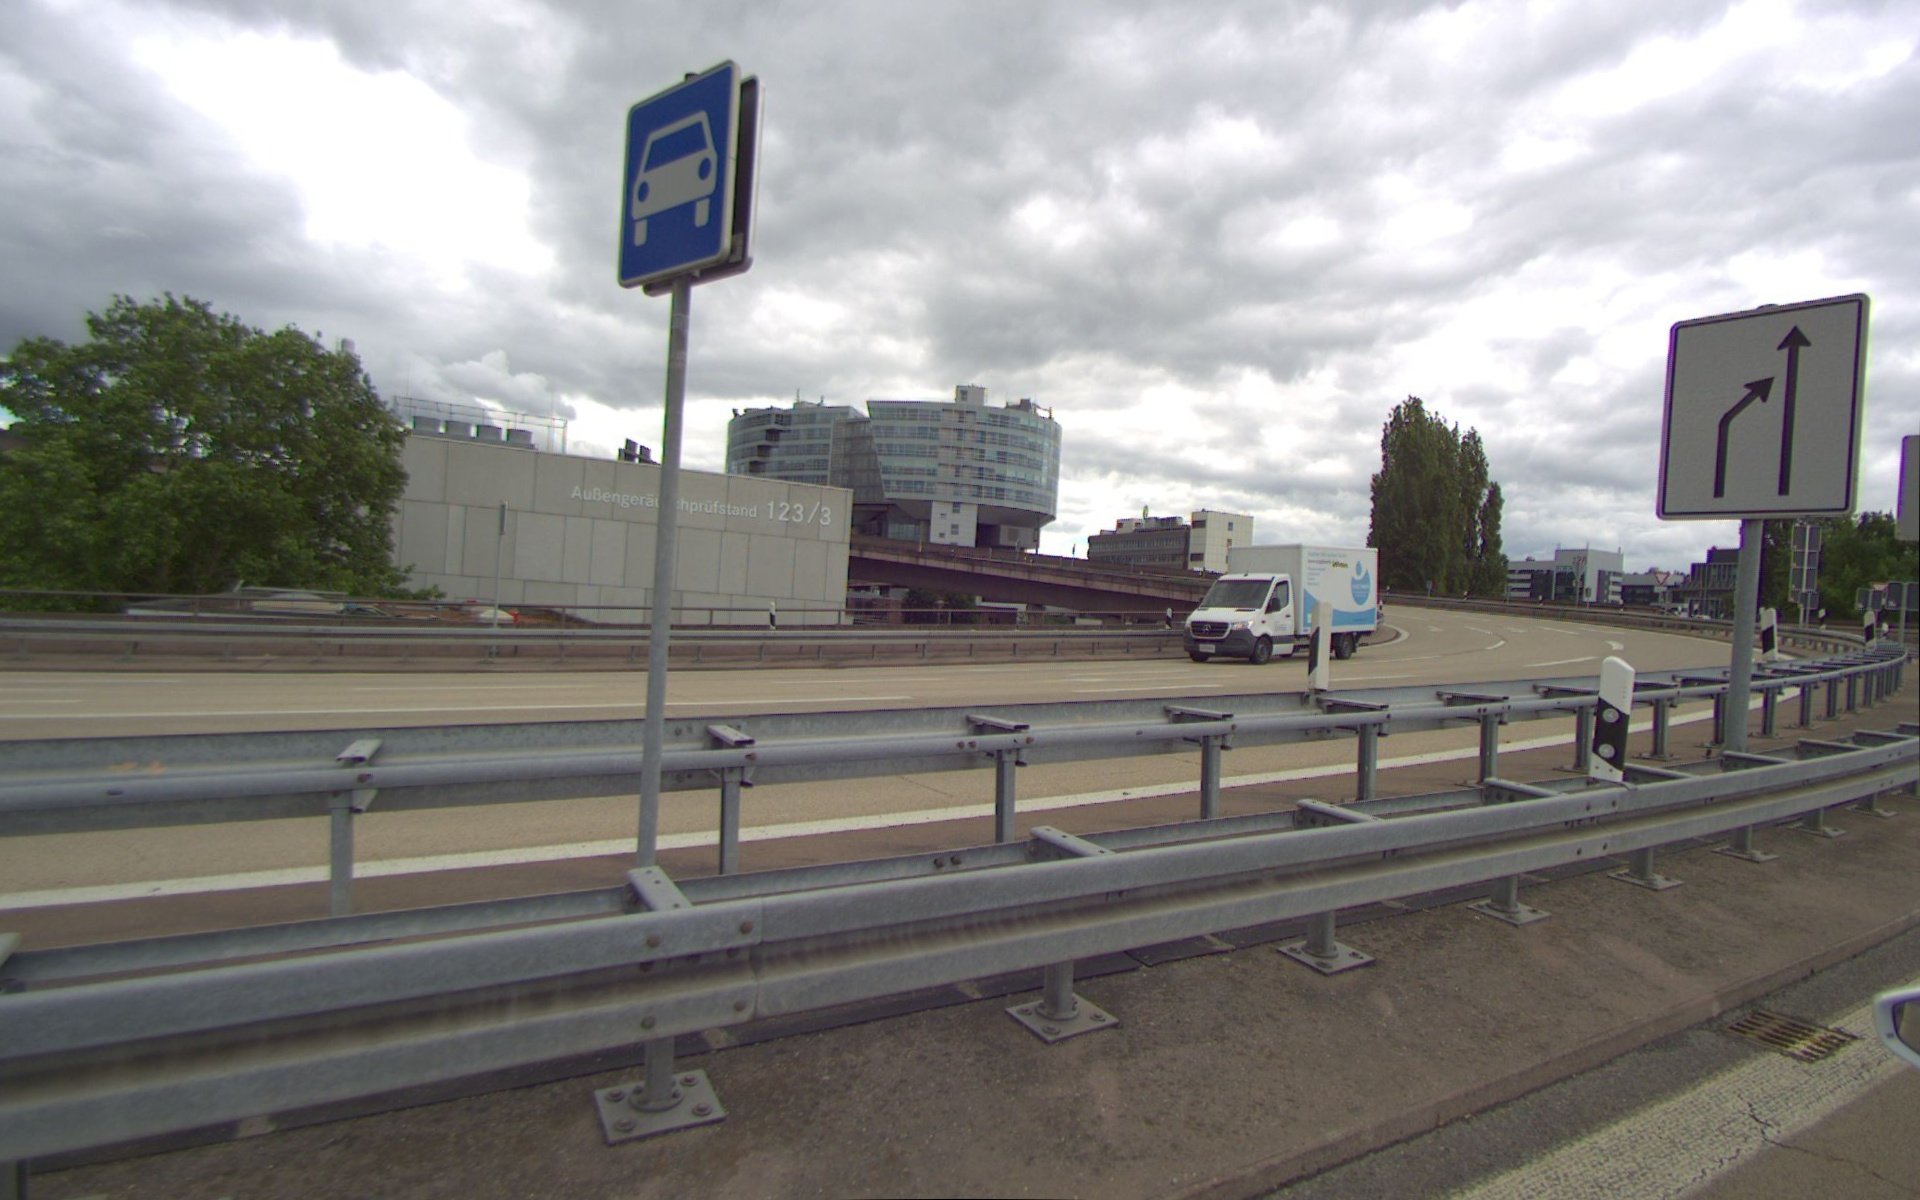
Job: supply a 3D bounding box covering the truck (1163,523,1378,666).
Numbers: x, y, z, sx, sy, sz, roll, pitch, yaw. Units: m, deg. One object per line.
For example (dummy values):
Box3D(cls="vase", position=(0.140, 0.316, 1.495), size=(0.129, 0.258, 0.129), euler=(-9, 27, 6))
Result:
Box3D(cls="truck", position=(8.325, -0.055, 26.436), size=(6.945, 3.306, 2.323), euler=(1, -1, -43))
